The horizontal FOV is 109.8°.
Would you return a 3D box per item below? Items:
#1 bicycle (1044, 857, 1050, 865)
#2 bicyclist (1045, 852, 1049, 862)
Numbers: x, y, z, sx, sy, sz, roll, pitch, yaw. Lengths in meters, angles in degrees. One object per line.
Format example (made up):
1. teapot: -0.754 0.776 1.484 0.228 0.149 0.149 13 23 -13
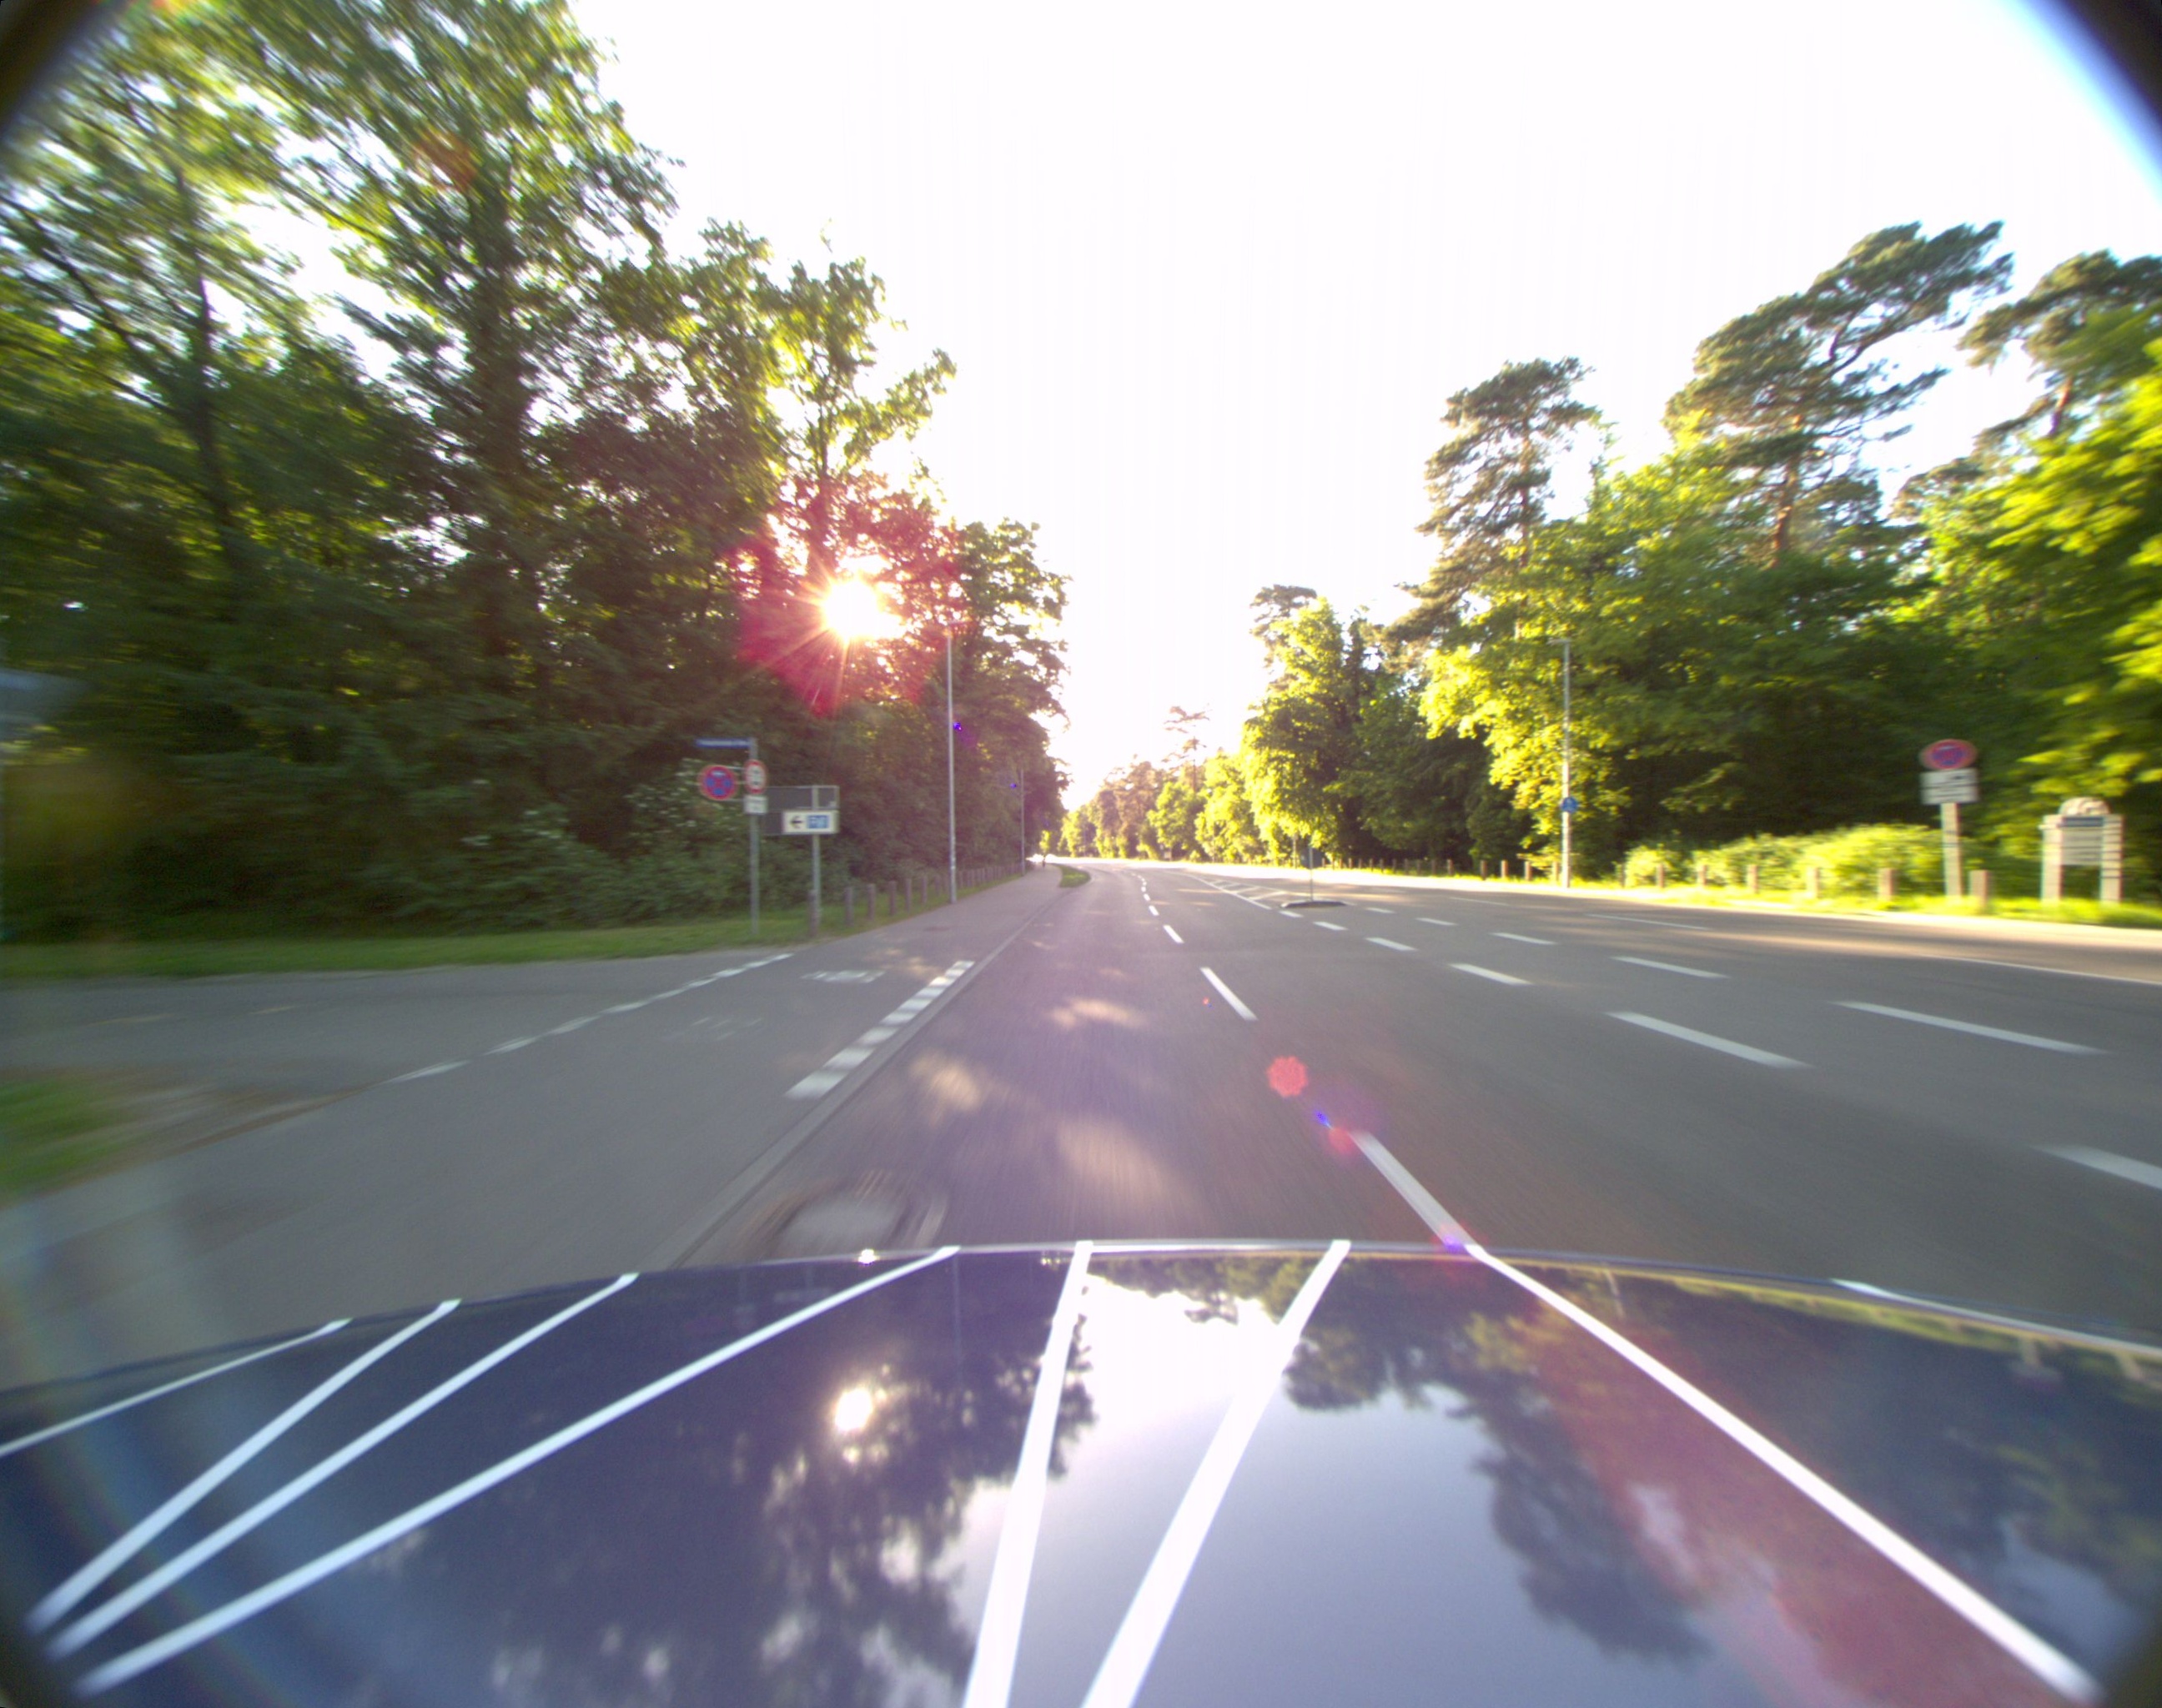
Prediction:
1. bicycle: -4.194 0.864 93.375 0.608 1.051 2.874 -1 0 -4
2. bicyclist: -4.197 0.391 93.612 0.514 1.260 0.497 -1 0 -4
